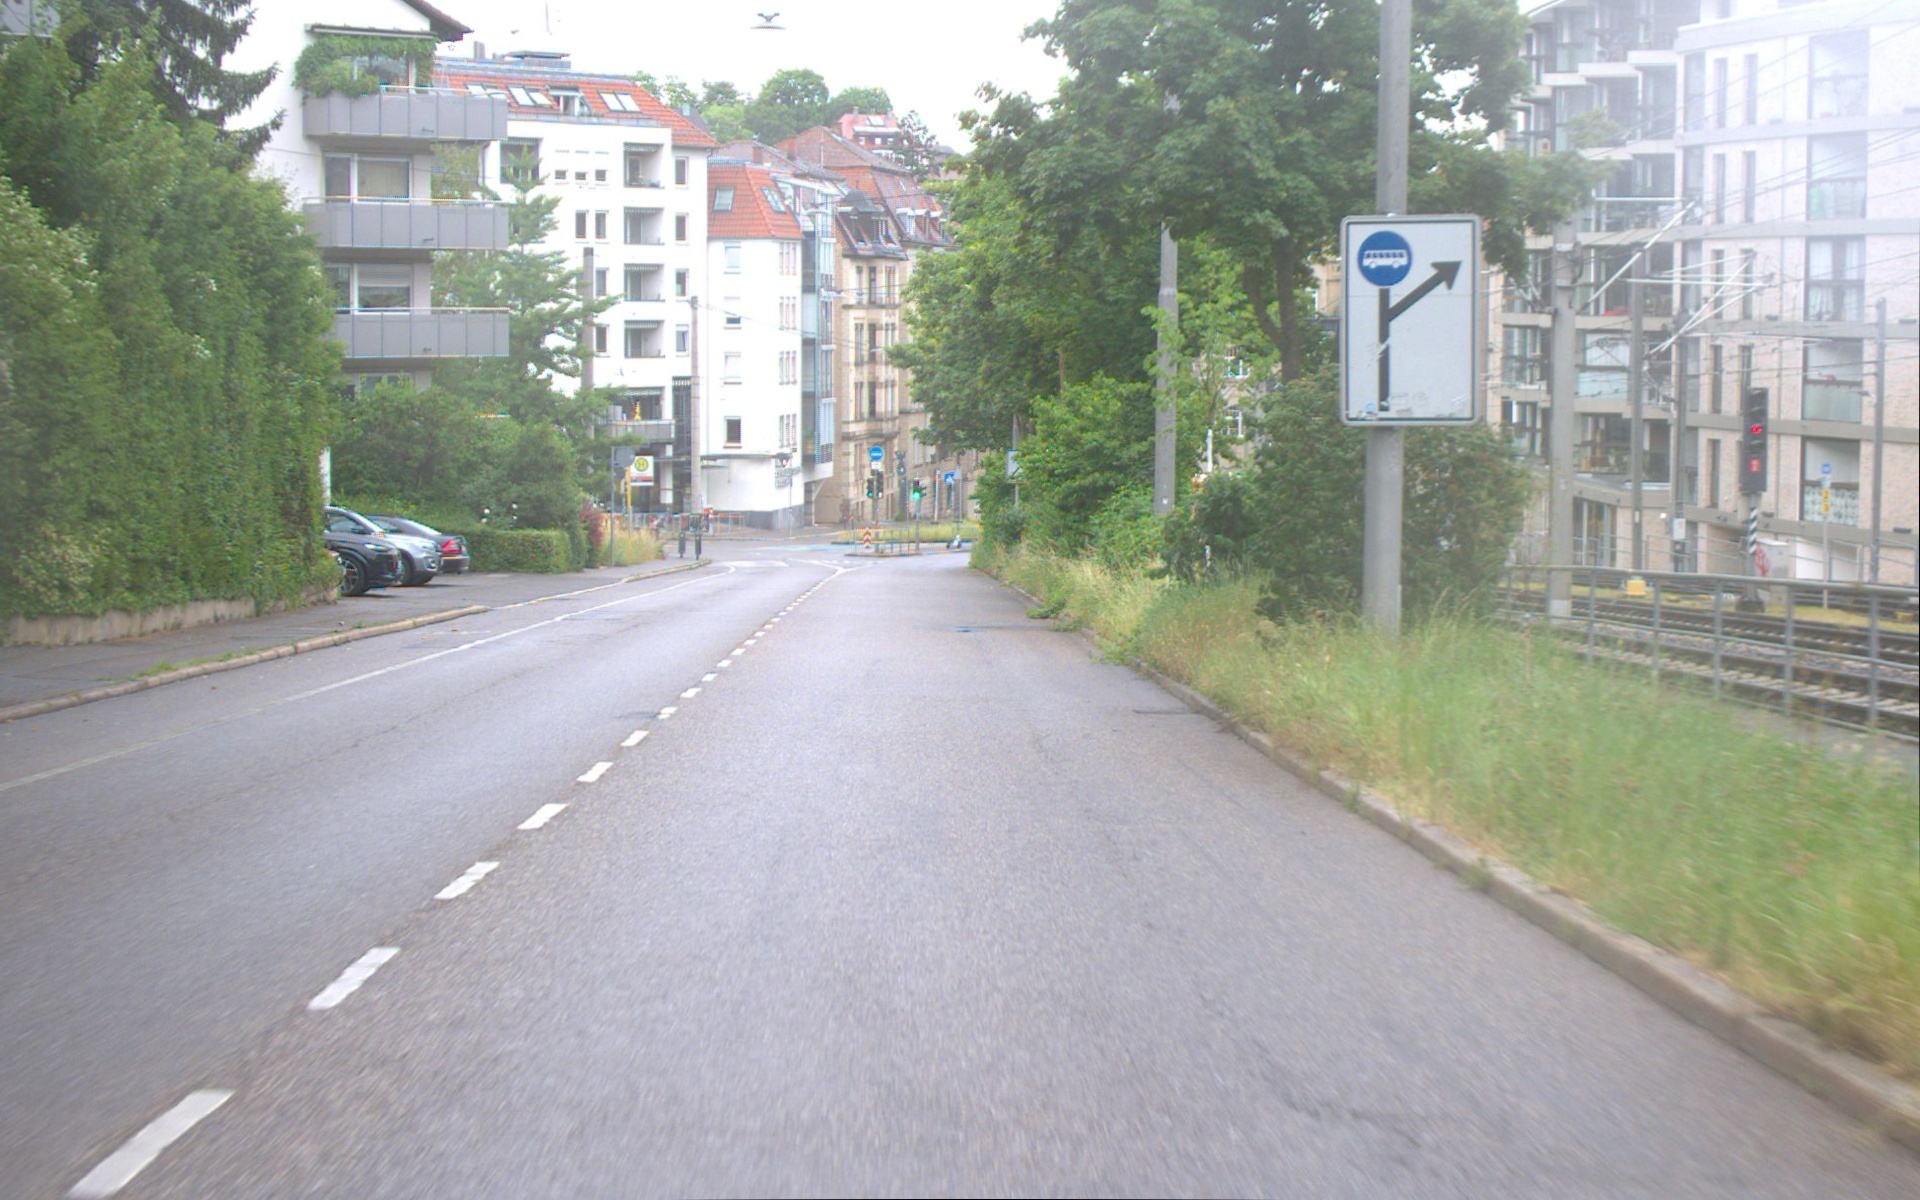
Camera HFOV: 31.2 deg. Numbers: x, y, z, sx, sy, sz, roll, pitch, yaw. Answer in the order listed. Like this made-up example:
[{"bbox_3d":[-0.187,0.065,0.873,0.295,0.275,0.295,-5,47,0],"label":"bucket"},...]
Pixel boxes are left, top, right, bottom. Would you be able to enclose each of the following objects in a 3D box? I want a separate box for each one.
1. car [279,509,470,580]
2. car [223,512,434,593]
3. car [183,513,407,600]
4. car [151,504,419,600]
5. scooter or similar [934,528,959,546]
[{"bbox_3d":[-12.139,-1.143,71.437,3.631,1.402,1.783,1,1,1],"label":"car"},{"bbox_3d":[-12.696,-0.952,69.302,3.986,1.554,1.881,1,1,-5],"label":"car"},{"bbox_3d":[-11.317,-0.742,58.667,3.630,1.400,1.717,1,1,-7],"label":"car"},{"bbox_3d":[-12.029,-0.871,61.481,4.449,1.597,1.814,1,3,-1],"label":"car"},{"bbox_3d":[-0.580,-2.663,145.145,0.485,0.759,1.328,1,1,27],"label":"scooter or similar"}]
